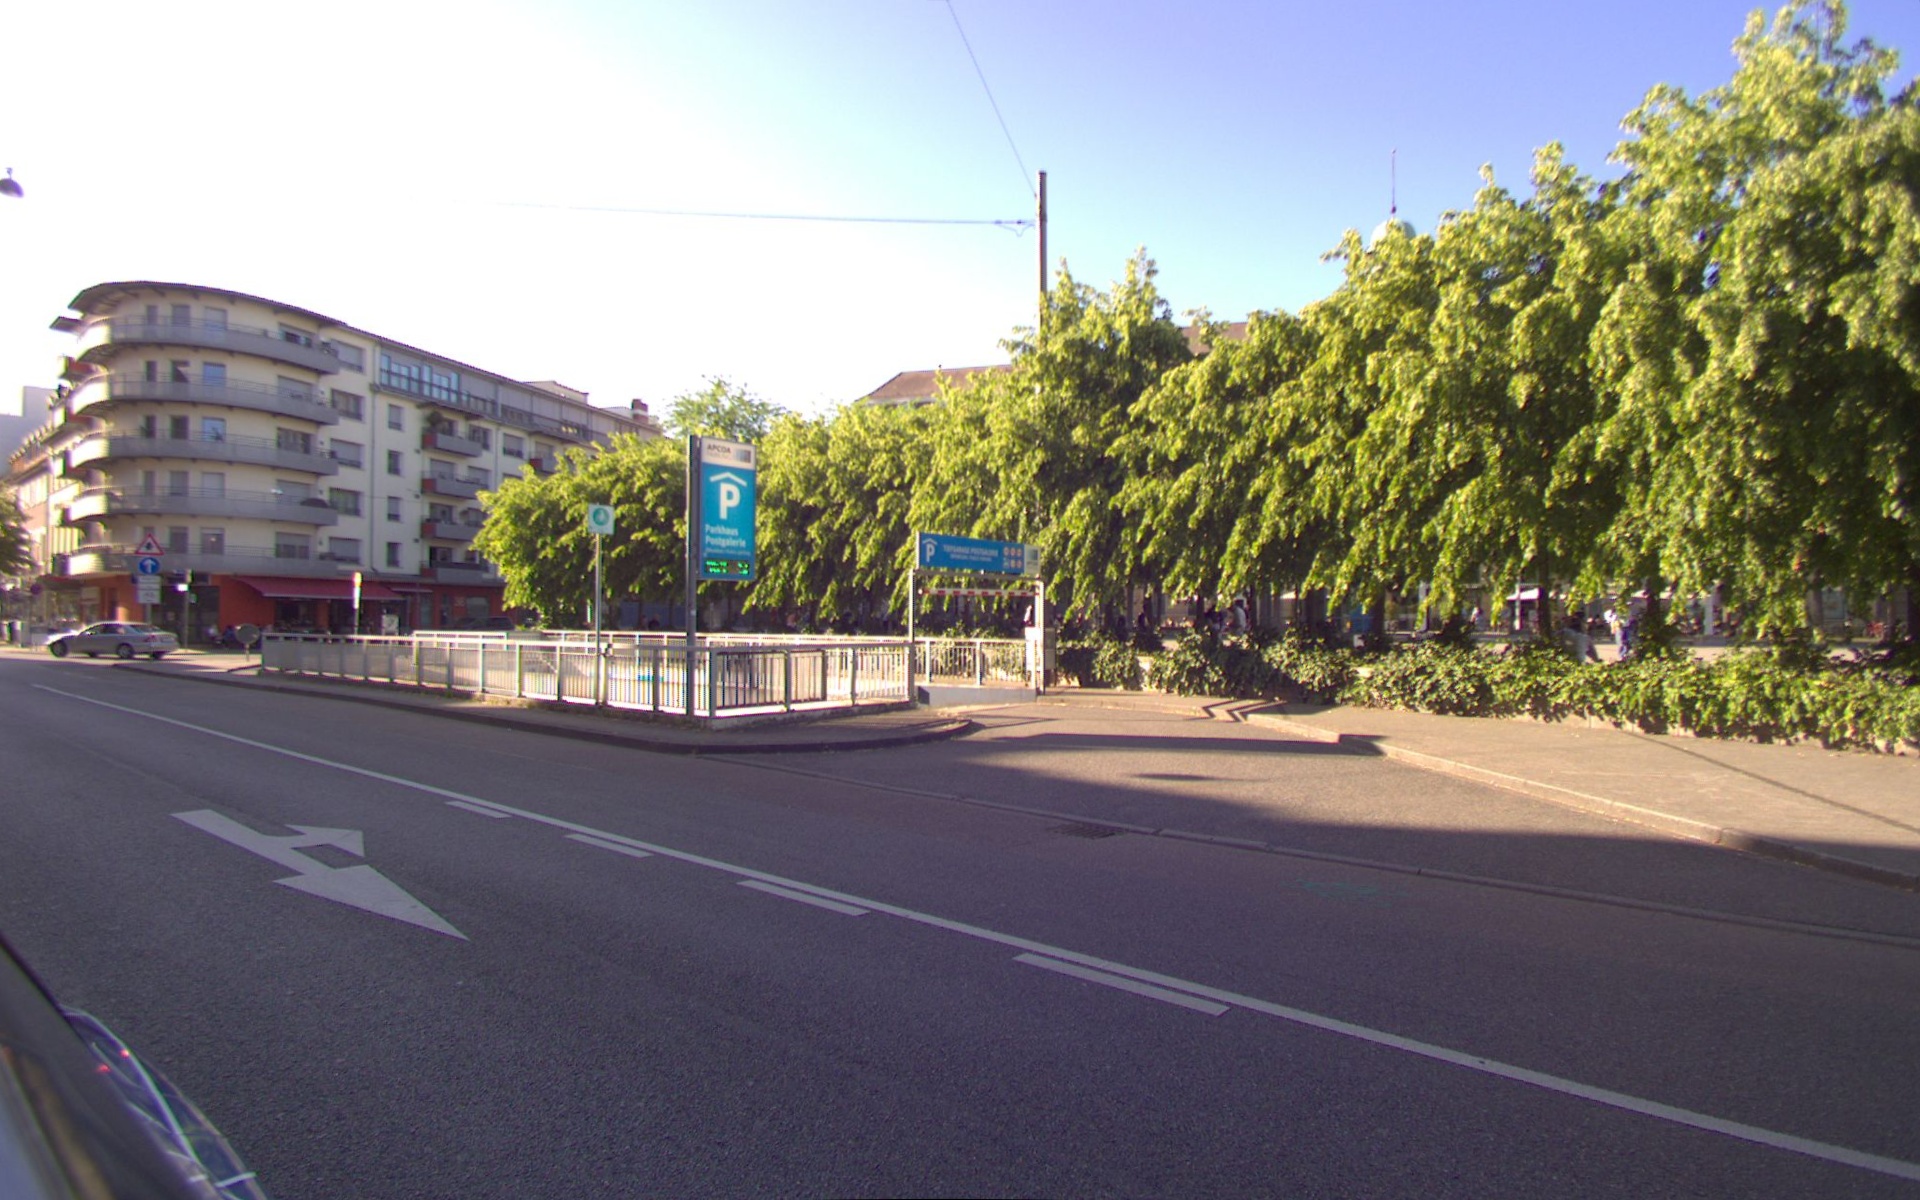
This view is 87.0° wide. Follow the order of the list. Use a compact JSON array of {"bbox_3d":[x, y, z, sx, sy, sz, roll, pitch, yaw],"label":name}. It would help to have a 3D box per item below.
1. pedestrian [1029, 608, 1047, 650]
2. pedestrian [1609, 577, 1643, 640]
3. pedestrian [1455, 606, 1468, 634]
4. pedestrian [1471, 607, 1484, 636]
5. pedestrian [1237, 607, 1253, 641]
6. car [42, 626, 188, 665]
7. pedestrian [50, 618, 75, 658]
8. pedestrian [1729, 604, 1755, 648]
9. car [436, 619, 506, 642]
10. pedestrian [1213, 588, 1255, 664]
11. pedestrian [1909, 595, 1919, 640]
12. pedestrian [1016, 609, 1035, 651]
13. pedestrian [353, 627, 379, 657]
[{"bbox_3d":[3.275,1.228,42.451,0.604,1.734,0.642,-1,0,21],"label":"pedestrian"},{"bbox_3d":[18.548,0.236,28.197,0.643,1.734,0.604,-1,0,22],"label":"pedestrian"},{"bbox_3d":[30.893,1.243,62.355,0.643,1.734,0.603,-1,0,26],"label":"pedestrian"},{"bbox_3d":[31.345,1.286,61.313,0.643,1.734,0.603,-1,0,26],"label":"pedestrian"},{"bbox_3d":[14.533,1.227,51.645,0.606,1.734,0.640,-1,0,31],"label":"pedestrian"},{"bbox_3d":[-33.340,1.786,40.018,4.204,1.363,1.825,2,-2,-1],"label":"car"},{"bbox_3d":[-46.750,1.987,52.736,0.888,2.029,0.850,-1,0,40],"label":"pedestrian"},{"bbox_3d":[31.612,1.042,40.910,0.641,1.734,0.605,-1,0,18],"label":"pedestrian"},{"bbox_3d":[-30.509,1.892,63.215,1.742,1.311,3.977,-1,-1,17],"label":"car"},{"bbox_3d":[6.124,0.575,22.634,0.645,1.661,0.626,-1,0,-35],"label":"pedestrian"},{"bbox_3d":[42.740,0.781,45.033,0.676,1.963,0.632,-1,0,38],"label":"pedestrian"},{"bbox_3d":[2.700,1.230,41.897,0.604,1.734,0.642,-1,0,21],"label":"pedestrian"},{"bbox_3d":[-32.718,2.321,55.741,0.877,1.607,0.861,-1,0,2],"label":"pedestrian"}]
